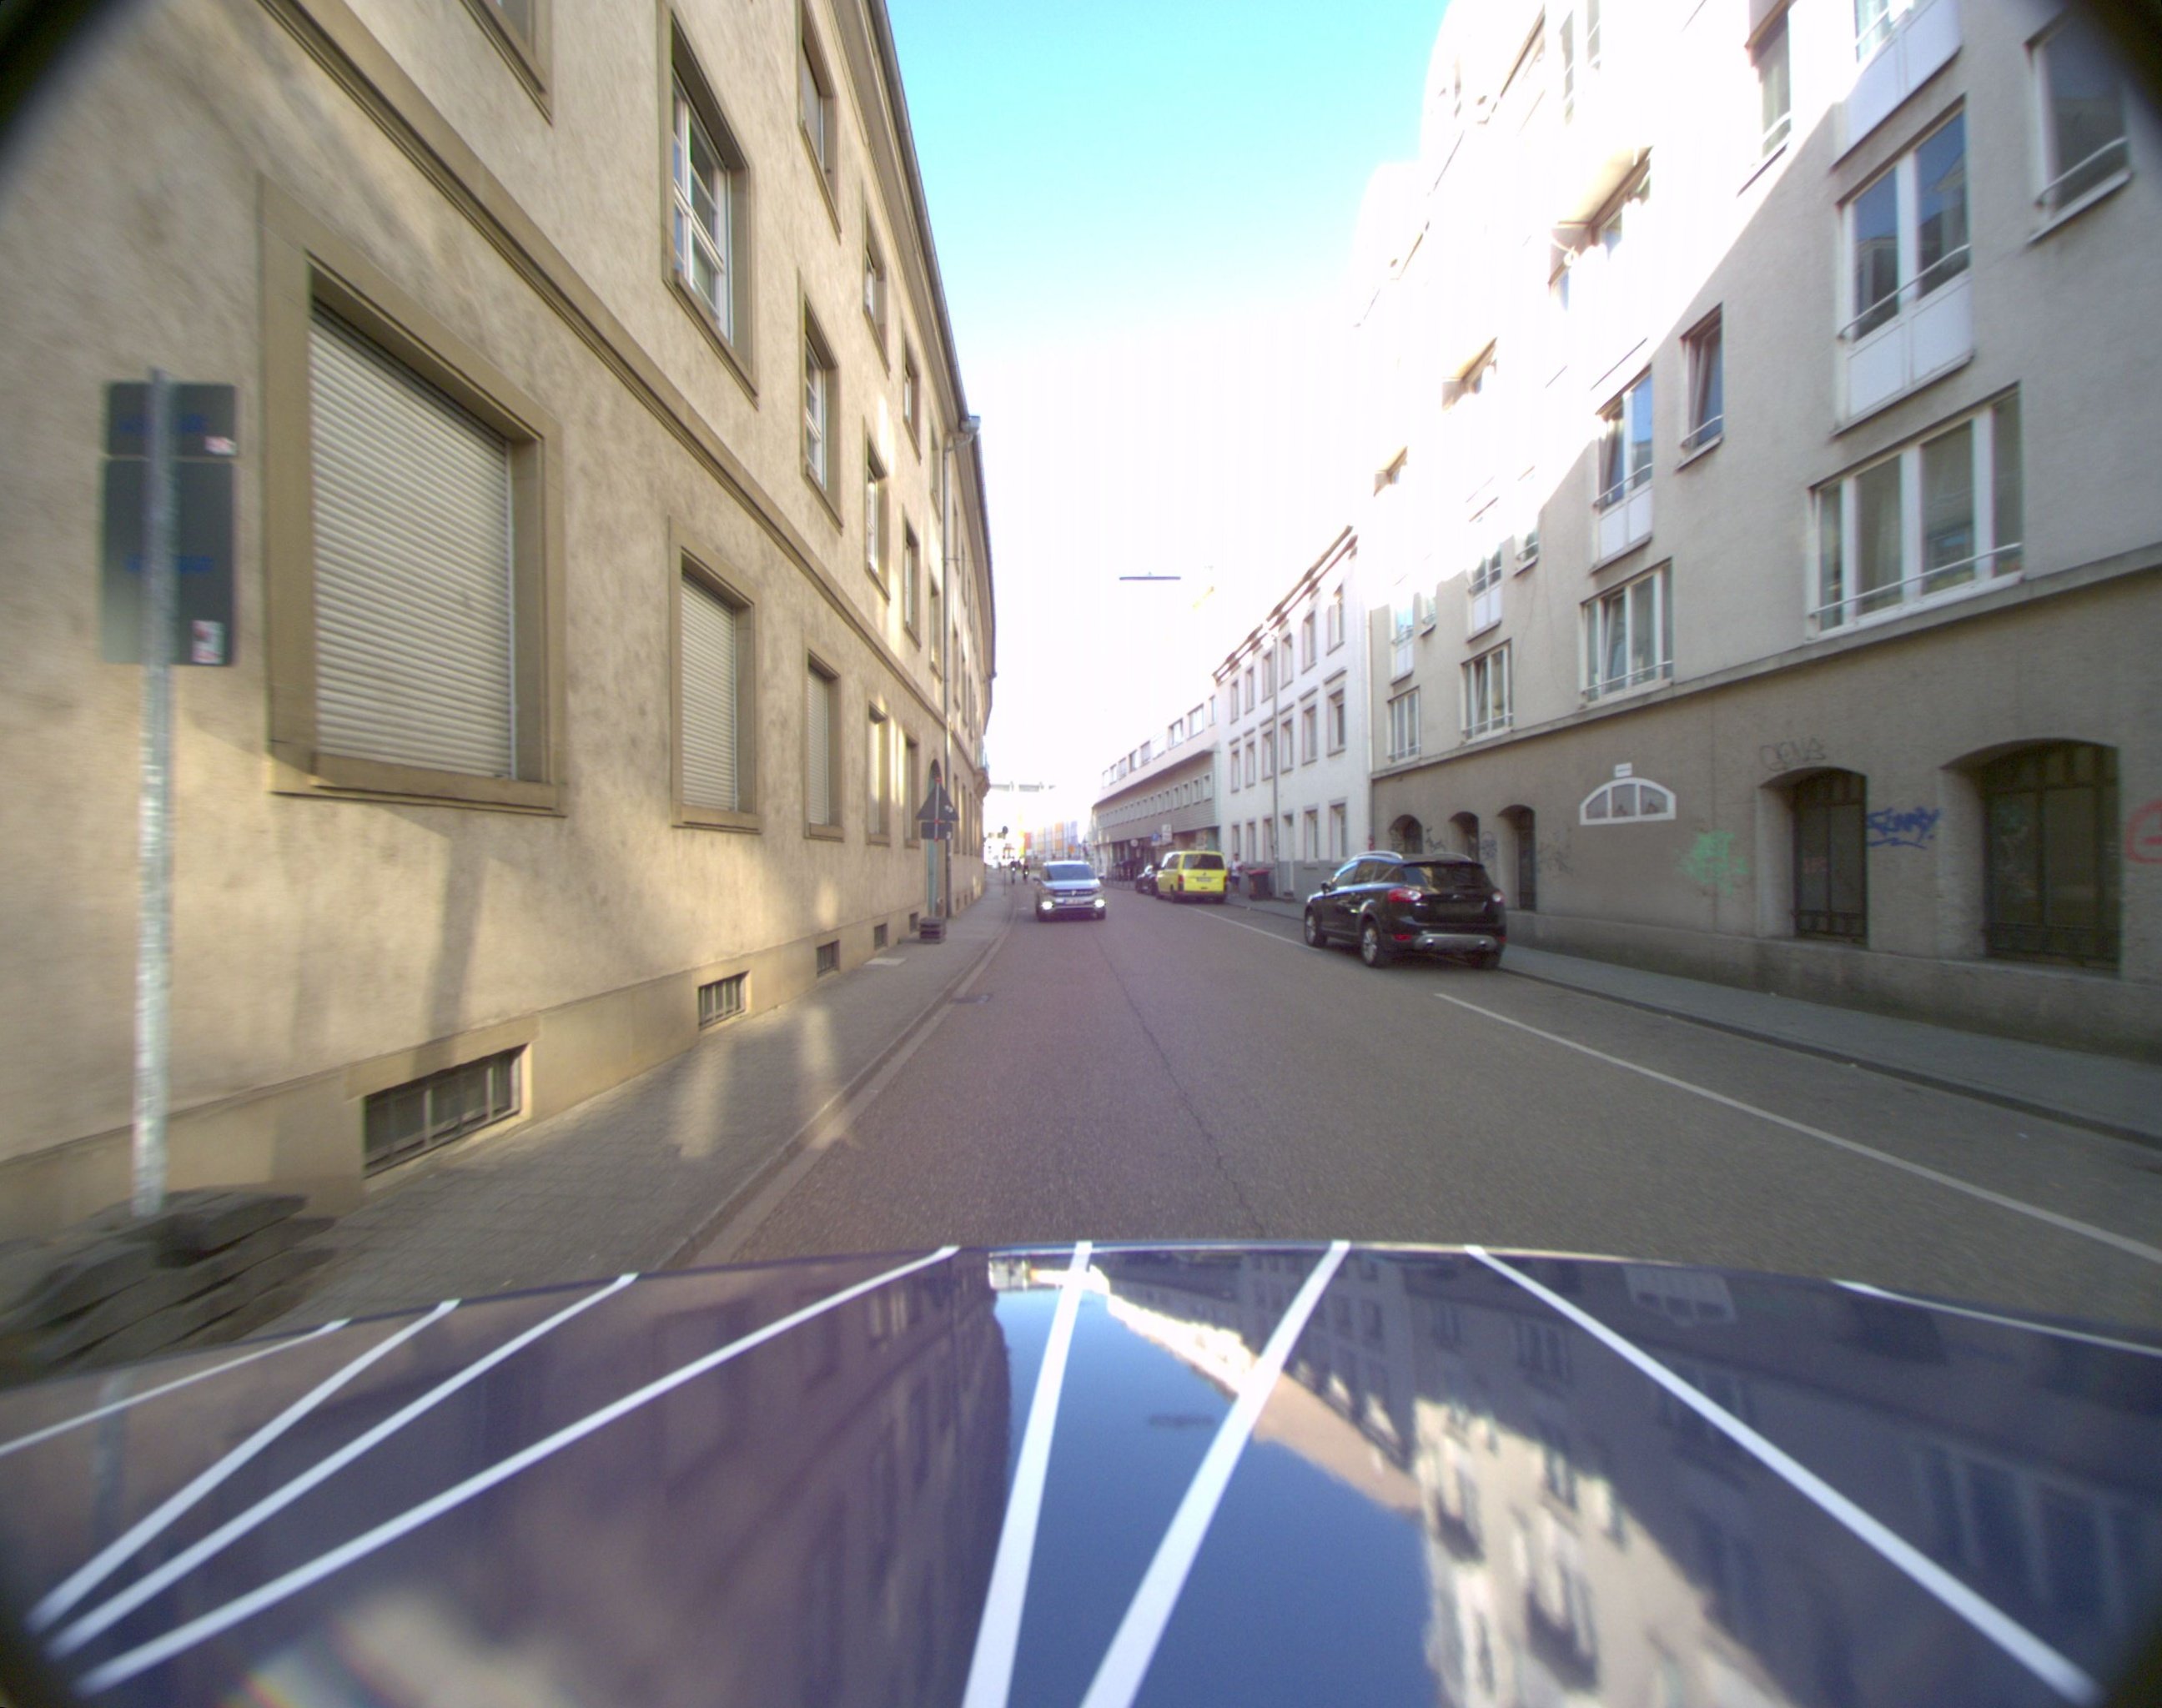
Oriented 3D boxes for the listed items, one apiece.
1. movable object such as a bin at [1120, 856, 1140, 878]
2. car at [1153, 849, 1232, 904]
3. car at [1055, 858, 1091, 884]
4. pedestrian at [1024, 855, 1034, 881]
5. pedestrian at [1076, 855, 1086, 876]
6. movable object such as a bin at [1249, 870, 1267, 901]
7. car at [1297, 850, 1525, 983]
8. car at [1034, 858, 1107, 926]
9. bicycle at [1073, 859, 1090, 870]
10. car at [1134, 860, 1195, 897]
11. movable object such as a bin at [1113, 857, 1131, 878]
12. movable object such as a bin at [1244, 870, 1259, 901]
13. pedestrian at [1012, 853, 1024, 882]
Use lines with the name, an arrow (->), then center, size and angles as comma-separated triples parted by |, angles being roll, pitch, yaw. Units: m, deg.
movable object such as a bin -> 3.423, 0.879, 52.765 | 1.126, 1.511, 1.341 | -1, -1, -8
car -> 4.123, 0.801, 28.951 | 1.885, 1.856, 4.862 | 2, 0, -5
car -> -0.551, 1.029, 48.888 | 1.720, 1.569, 4.187 | -1, 0, -9
pedestrian -> -3.569, 0.965, 52.595 | 0.603, 1.770, 0.651 | -1, 0, -9
pedestrian -> 0.008, 0.892, 61.025 | 0.494, 1.660, 0.627 | -3, 1, -21
movable object such as a bin -> 6.231, 1.102, 26.779 | 0.542, 1.098, 0.433 | 0, 0, -2
car -> 4.956, 0.840, 12.136 | 1.744, 1.701, 4.190 | 2, 0, -1
car -> -0.393, 0.968, 21.337 | 1.683, 1.568, 4.240 | -4, 0, -5
bicycle -> 0.065, 1.208, 88.719 | 1.821, 1.094, 0.749 | -4, 1, -9
car -> 3.694, 1.073, 34.328 | 1.825, 1.477, 4.074 | 2, 0, -7
movable object such as a bin -> 2.936, 0.979, 54.706 | 0.971, 1.462, 1.474 | -1, -1, -8
movable object such as a bin -> 6.150, 1.137, 27.389 | 0.411, 1.098, 0.433 | 0, 0, -2
pedestrian -> -4.332, 0.915, 52.223 | 0.678, 1.928, 0.857 | -1, 0, -9
